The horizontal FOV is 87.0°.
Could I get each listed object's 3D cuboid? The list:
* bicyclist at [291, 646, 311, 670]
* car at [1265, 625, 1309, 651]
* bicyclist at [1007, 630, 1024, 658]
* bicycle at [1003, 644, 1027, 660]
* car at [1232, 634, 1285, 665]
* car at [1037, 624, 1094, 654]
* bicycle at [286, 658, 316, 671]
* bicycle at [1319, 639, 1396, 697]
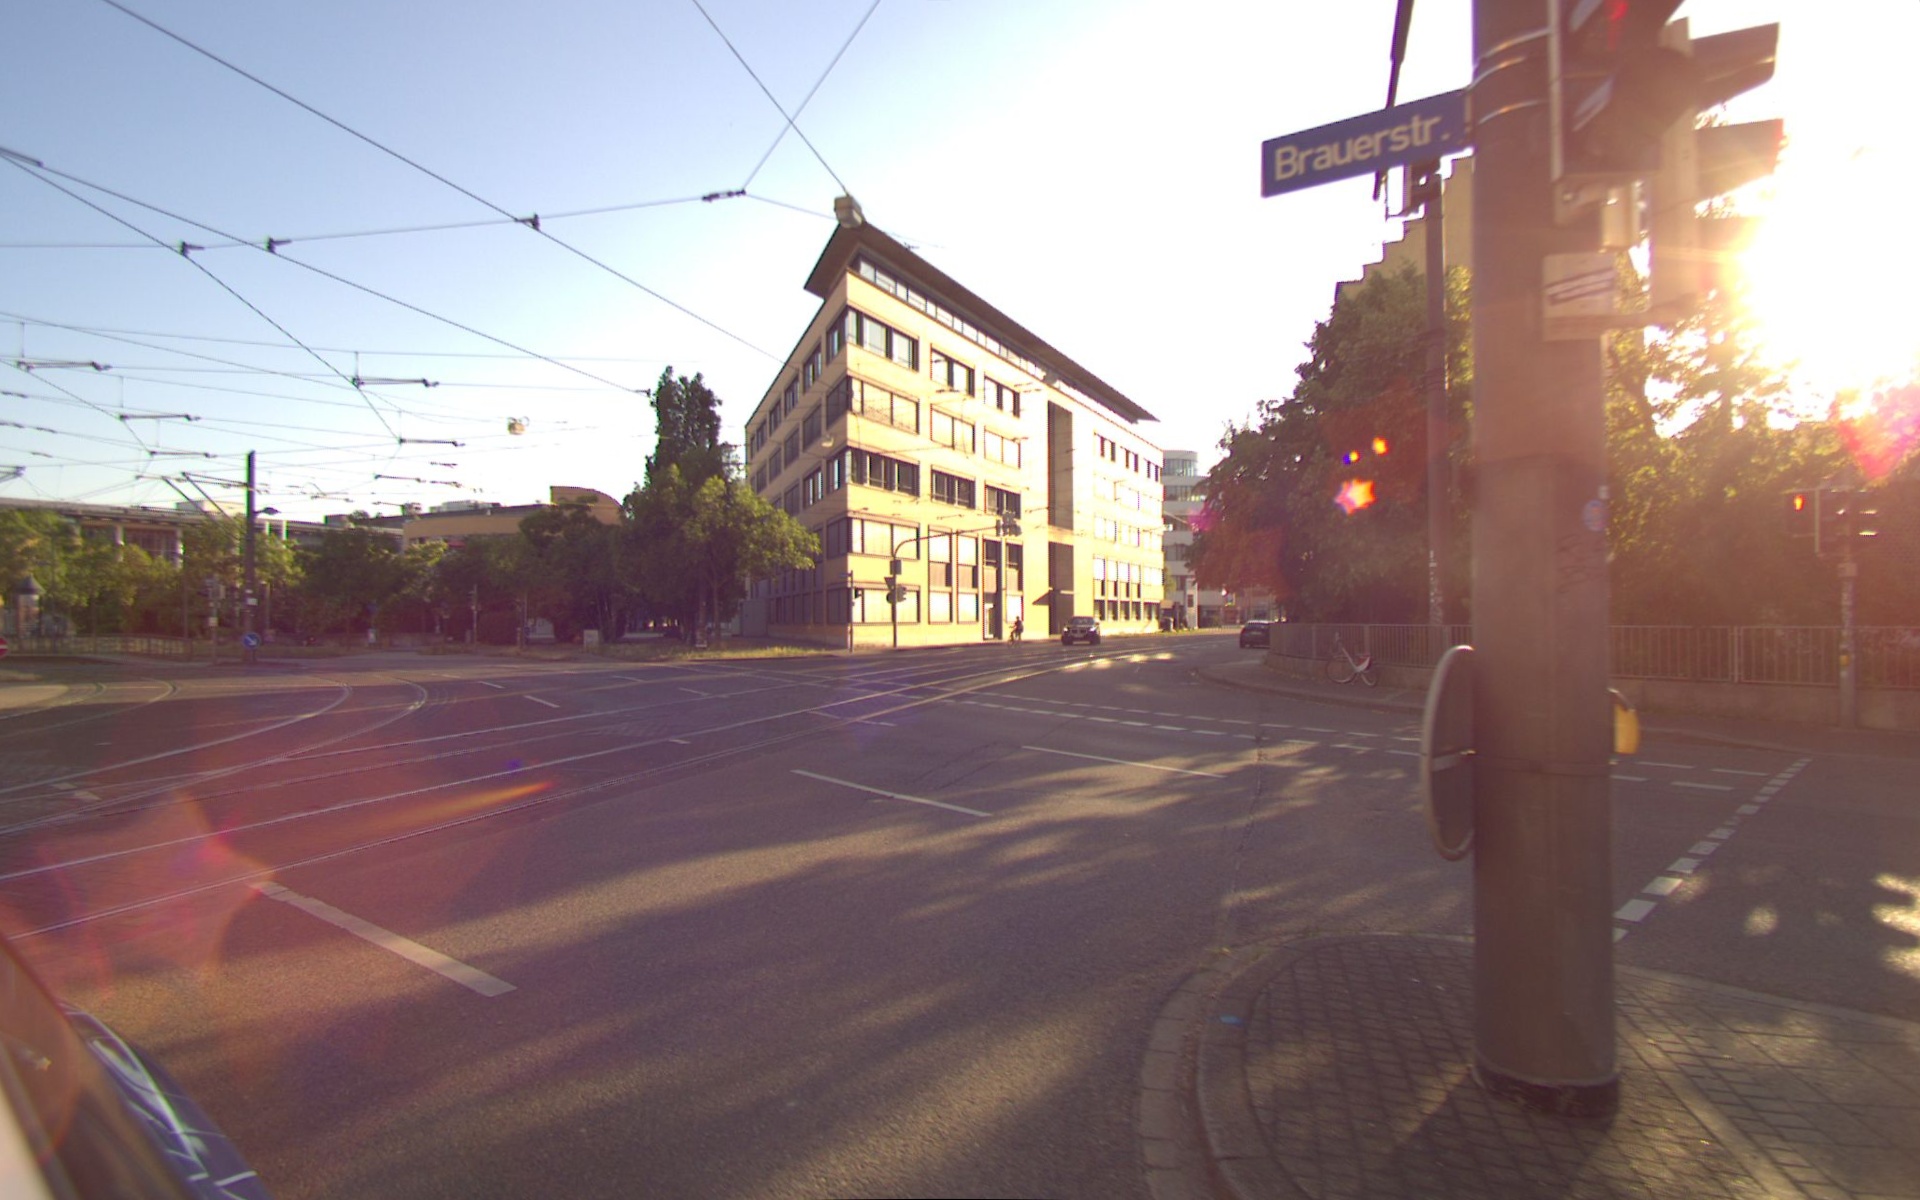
[{"bbox_3d":[-41.341,3.642,63.531,0.824,1.478,0.763,-2,-2,29],"label":"bicyclist"},{"bbox_3d":[19.969,2.277,61.762,1.836,1.497,3.961,-2,-2,28],"label":"car"},{"bbox_3d":[2.931,2.323,53.583,0.664,1.464,0.737,-2,-2,27],"label":"bicyclist"},{"bbox_3d":[2.912,2.751,53.528,0.655,0.839,1.676,-2,-2,27],"label":"bicycle"},{"bbox_3d":[15.533,2.542,52.558,1.989,1.497,3.965,-2,-2,26],"label":"car"},{"bbox_3d":[5.748,2.073,54.597,1.987,1.497,3.969,-2,-2,23],"label":"car"},{"bbox_3d":[-41.371,4.050,63.541,1.958,0.827,0.769,-2,-2,30],"label":"bicycle"},{"bbox_3d":[8.310,1.399,21.222,0.549,1.151,1.727,-1,-2,-15],"label":"bicycle"}]
